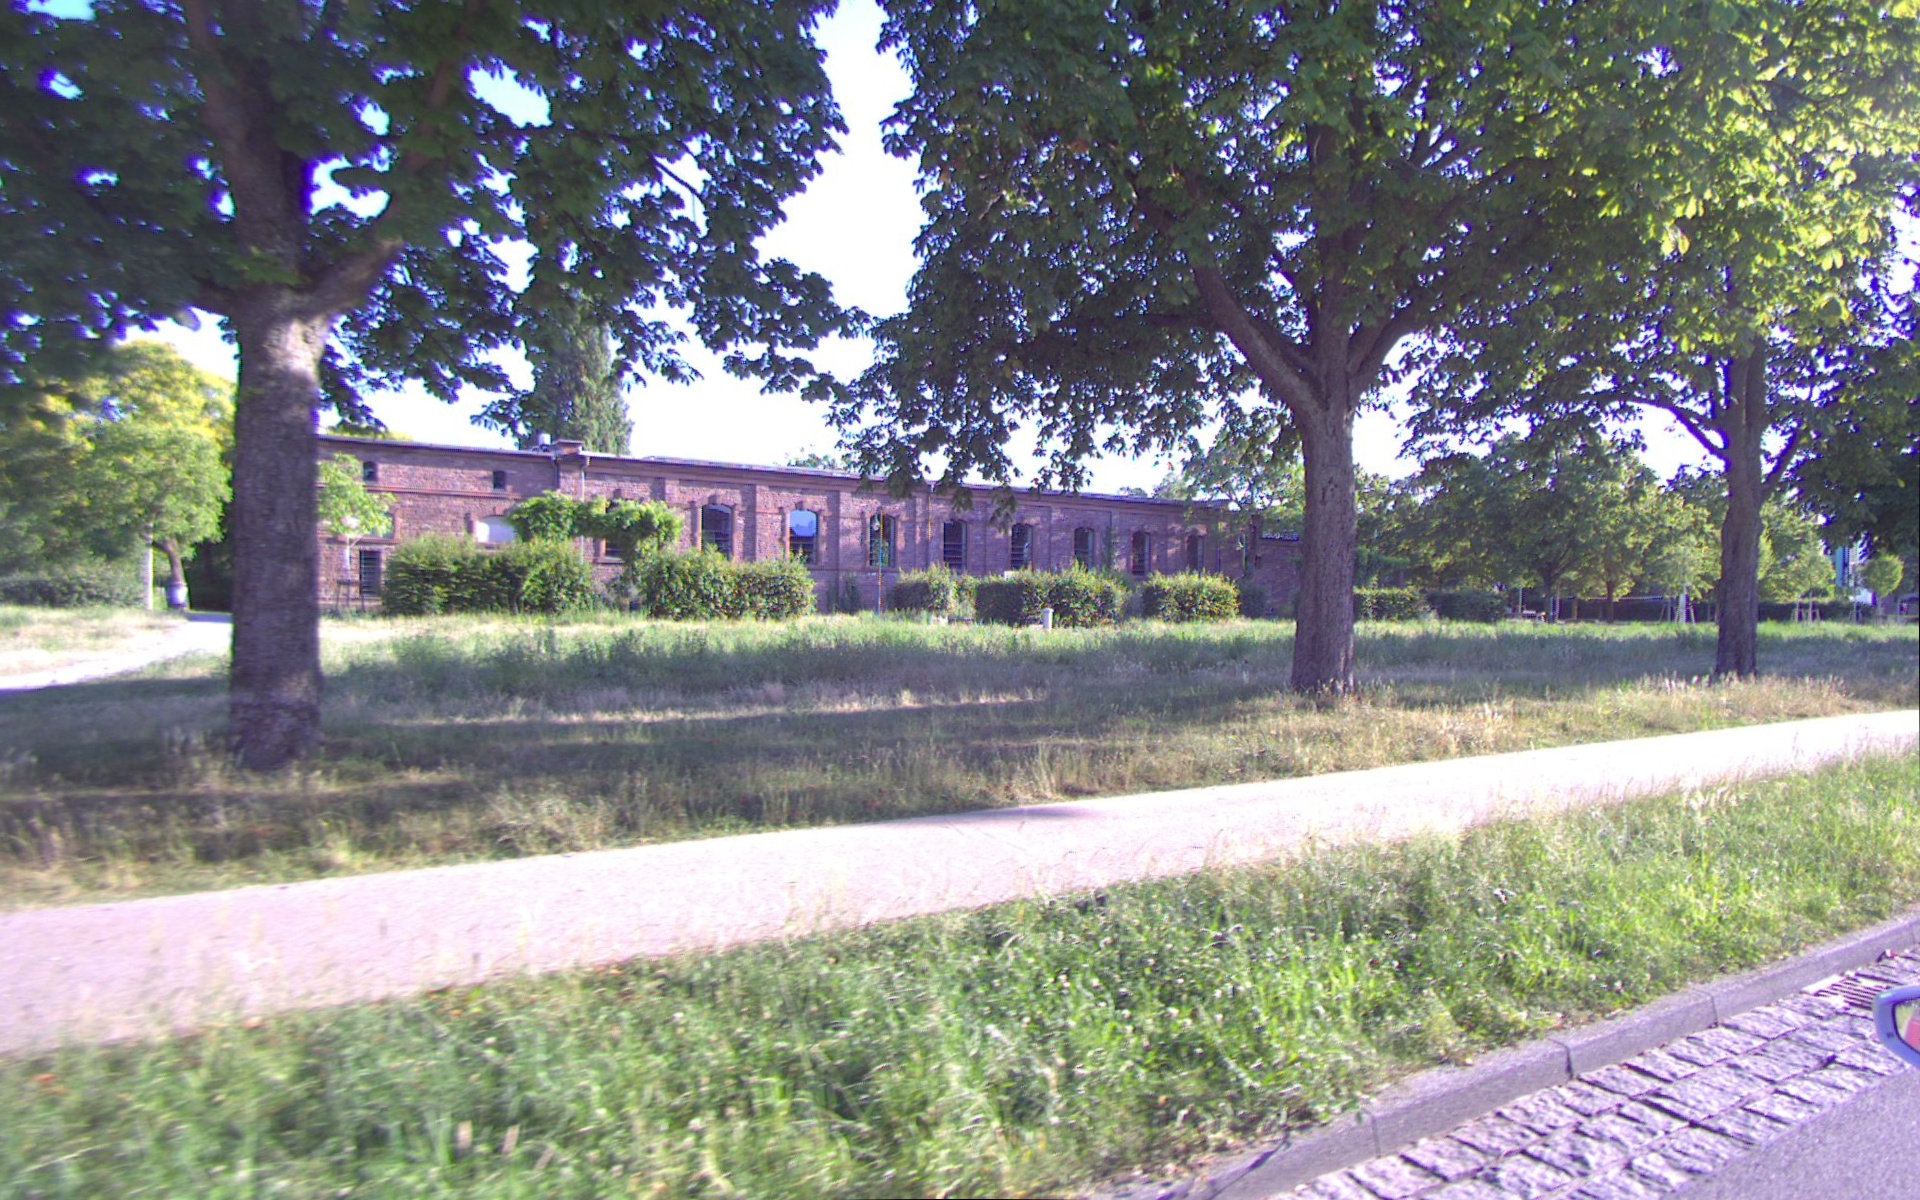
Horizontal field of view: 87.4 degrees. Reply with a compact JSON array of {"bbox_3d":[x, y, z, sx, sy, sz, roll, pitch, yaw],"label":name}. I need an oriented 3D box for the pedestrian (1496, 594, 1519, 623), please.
[{"bbox_3d":[36.147,0.564,66.334,0.787,1.906,1.044,1,1,-27],"label":"pedestrian"}]
